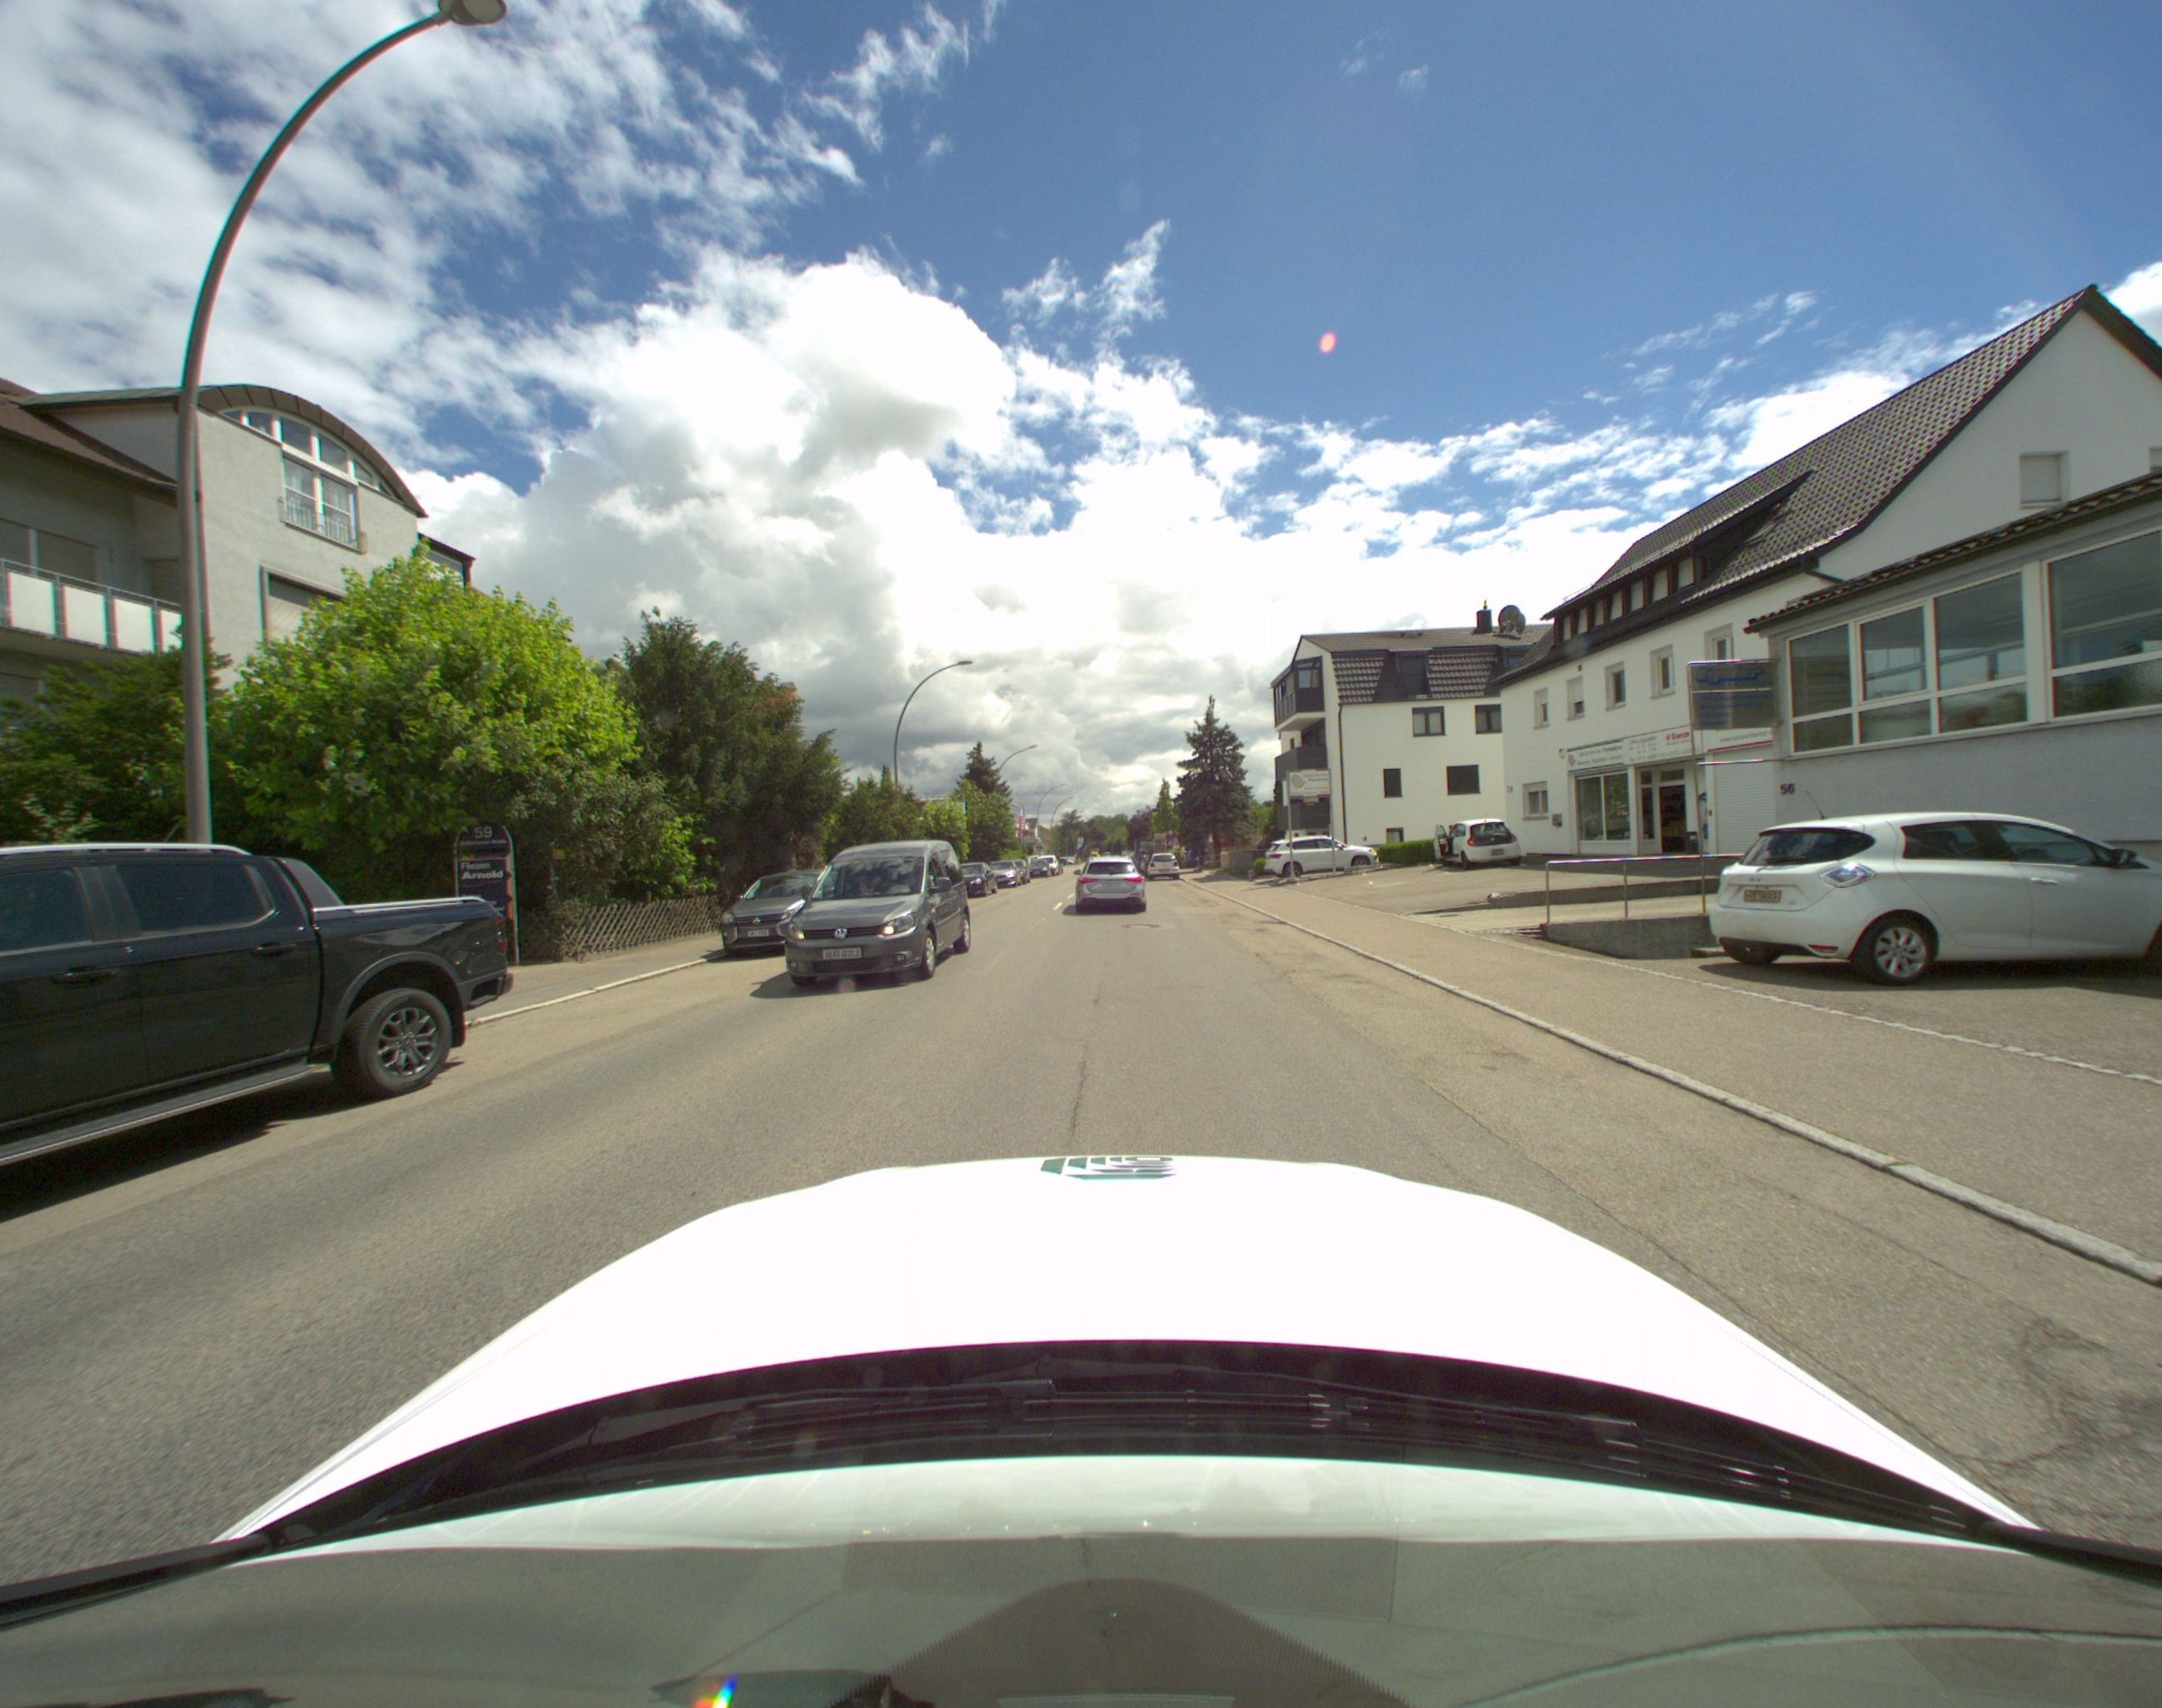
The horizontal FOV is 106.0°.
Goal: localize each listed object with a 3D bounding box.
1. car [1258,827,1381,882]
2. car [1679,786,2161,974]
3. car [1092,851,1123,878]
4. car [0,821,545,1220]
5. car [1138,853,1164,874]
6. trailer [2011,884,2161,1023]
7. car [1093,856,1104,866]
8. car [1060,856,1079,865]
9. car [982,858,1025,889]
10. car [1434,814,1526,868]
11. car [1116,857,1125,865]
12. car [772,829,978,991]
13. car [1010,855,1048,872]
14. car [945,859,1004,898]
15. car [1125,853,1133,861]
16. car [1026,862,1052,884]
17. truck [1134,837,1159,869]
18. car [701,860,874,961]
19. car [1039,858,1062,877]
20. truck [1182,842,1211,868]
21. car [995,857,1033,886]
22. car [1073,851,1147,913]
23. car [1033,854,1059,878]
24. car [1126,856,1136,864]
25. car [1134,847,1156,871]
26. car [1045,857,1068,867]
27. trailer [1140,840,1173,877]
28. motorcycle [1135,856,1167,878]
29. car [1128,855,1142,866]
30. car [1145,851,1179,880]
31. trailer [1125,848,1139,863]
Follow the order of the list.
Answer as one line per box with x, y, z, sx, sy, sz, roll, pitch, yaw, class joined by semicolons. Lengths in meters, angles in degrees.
9.288;0.008;31.928;4.176;1.654;1.868;-6;0;1;car
8.507;0.221;8.070;3.886;1.608;1.749;-1;0;0;car
1.597;0.613;49.762;1.750;1.558;4.000;-2;0;0;car
-5.905;0.850;4.537;1.903;1.821;5.433;-6;0;2;car
5.541;0.721;64.970;1.766;1.508;4.002;-3;0;2;car
8.944;0.593;5.327;3.803;0.808;1.657;-3;0;0;trailer
3.036;1.145;140.436;1.736;1.627;4.358;-2;0;2;car
-2.681;1.545;187.954;4.264;1.836;1.991;-3;-4;1;car
-4.082;1.014;43.426;1.713;1.432;4.200;-4;0;1;car
12.986;-0.455;26.738;1.622;1.518;3.675;-6;1;10;car
8.265;1.452;170.409;1.749;1.558;4.002;-2;0;2;car
-2.693;0.649;11.721;1.657;1.796;4.339;-4;0;1;car
-6.606;1.216;103.311;4.638;1.972;2.114;-3;0;-1;car
-4.387;0.974;34.140;1.656;1.414;4.341;-4;0;2;car
13.398;0.807;228.141;2.135;1.984;5.265;-3;0;3;car
-3.253;1.487;64.236;1.634;1.487;4.001;-6;0;1;car
6.543;-0.135;82.004;2.311;3.097;6.047;-1;0;3;truck
-5.488;0.979;15.794;1.656;1.511;3.947;-5;0;2;car
-2.761;1.207;75.141;1.737;1.472;4.645;-6;0;1;car
10.546;0.064;74.657;1.822;2.081;5.388;-6;1;2;truck
-3.927;0.977;48.318;1.713;1.493;4.736;-4;0;1;car
0.756;0.686;22.245;1.778;1.484;4.317;-2;0;1;car
-2.996;0.984;70.039;1.737;1.838;4.357;-6;0;1;car
10.469;1.276;169.439;1.786;1.450;4.363;-4;0;0;car
5.994;0.454;76.530;1.866;2.169;4.468;-1;0;3;car
-5.131;1.750;170.719;4.613;1.632;2.197;-6;0;-1;car
4.819;0.278;52.178;1.766;2.144;4.116;-3;0;2;trailer
4.198;0.771;49.030;1.830;1.210;0.710;-3;0;-33;motorcycle
8.183;0.925;122.440;1.932;1.571;4.451;-3;0;5;car
4.516;0.625;45.573;1.711;1.432;3.989;-4;0;5;car
8.342;0.303;133.602;1.934;2.294;4.447;-3;-1;1;trailer
